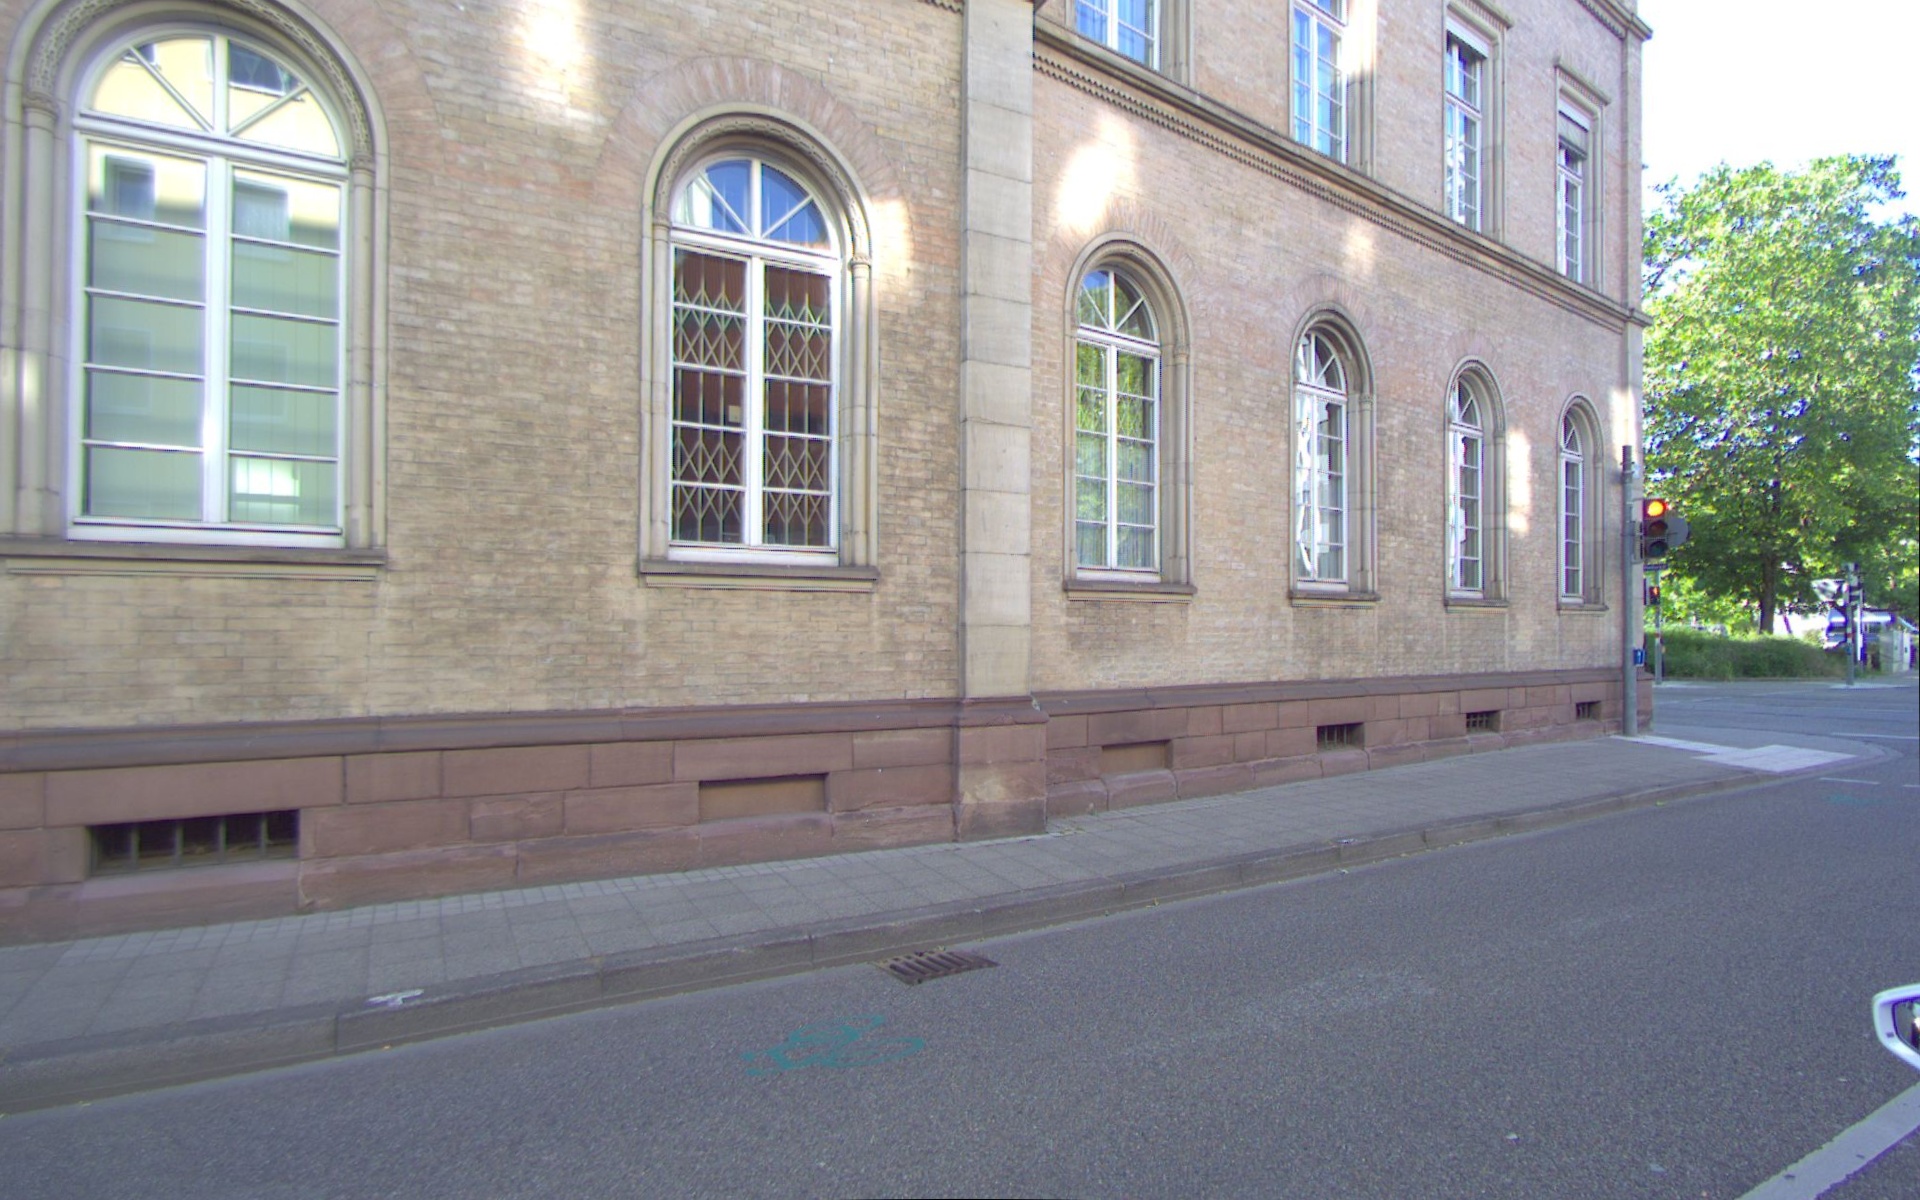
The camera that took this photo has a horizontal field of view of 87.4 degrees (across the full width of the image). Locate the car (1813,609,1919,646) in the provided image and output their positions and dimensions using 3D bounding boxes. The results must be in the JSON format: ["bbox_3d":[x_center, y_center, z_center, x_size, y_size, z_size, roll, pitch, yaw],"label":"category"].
[{"bbox_3d":[53.508,1.605,59.388,1.983,2.040,4.409,2,0,-38],"label":"car"}]

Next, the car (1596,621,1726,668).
[{"bbox_3d":[24.387,1.519,35.026,1.636,1.476,3.382,2,0,-39],"label":"car"}]
